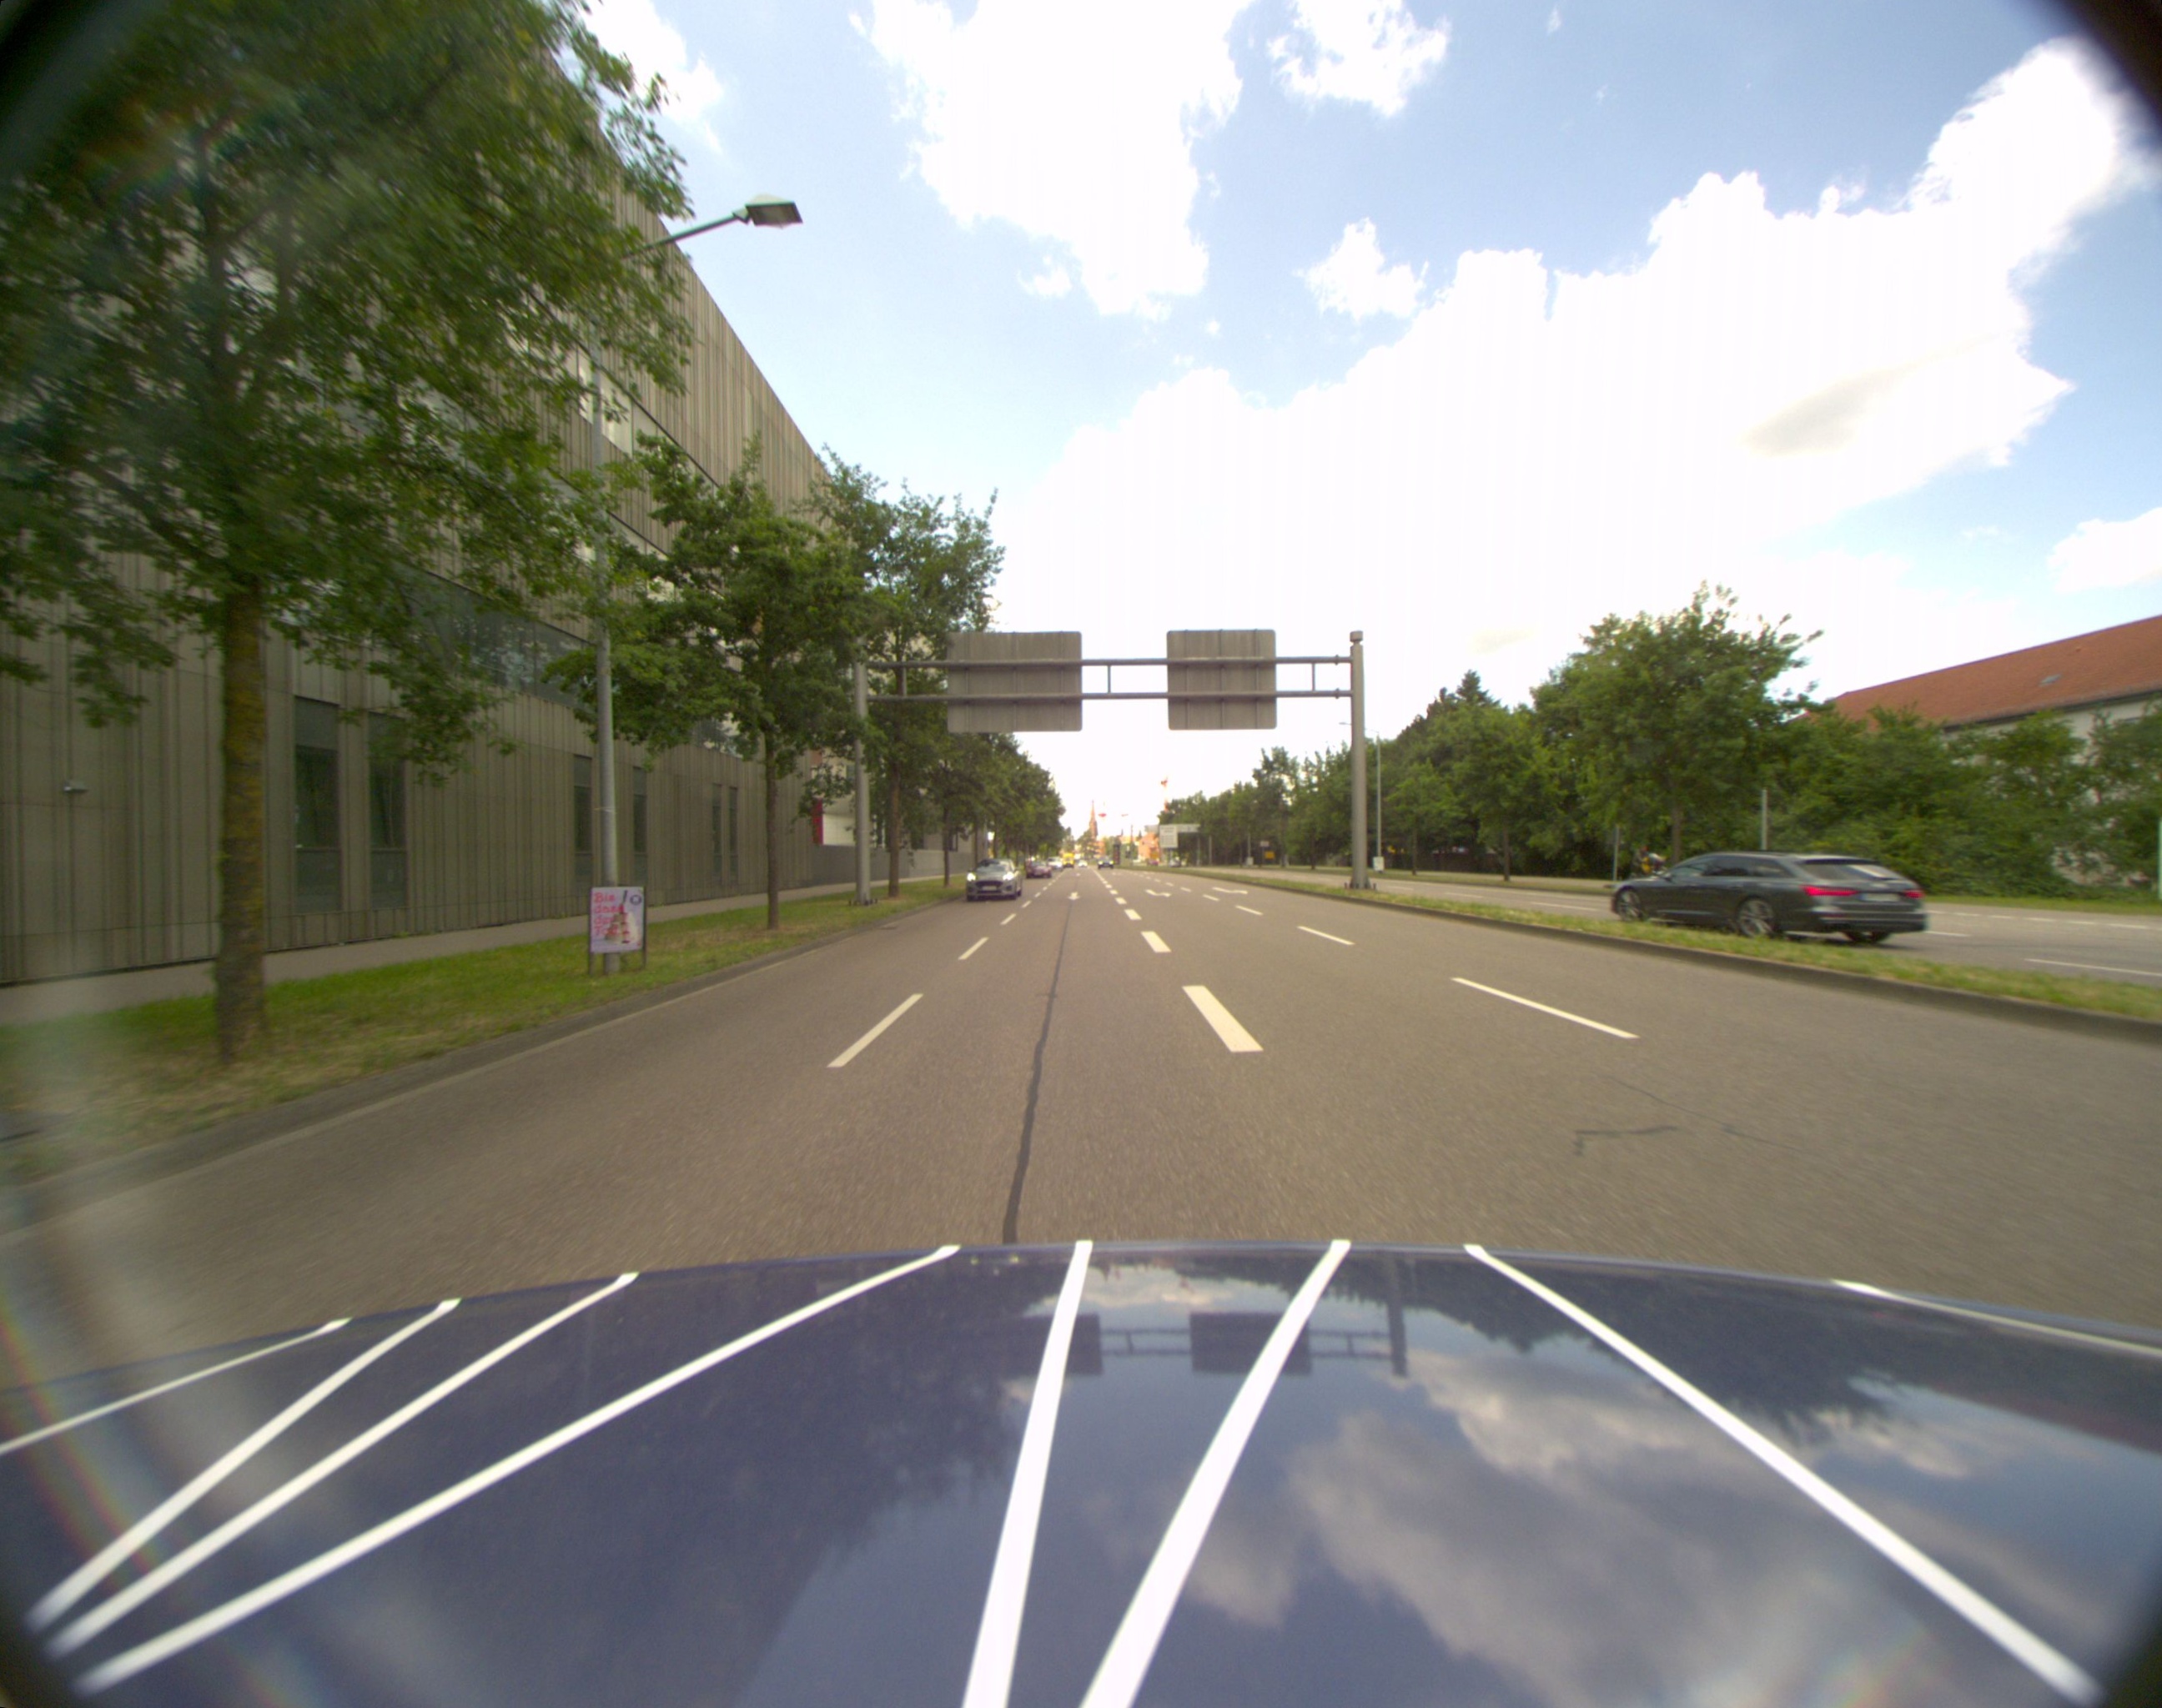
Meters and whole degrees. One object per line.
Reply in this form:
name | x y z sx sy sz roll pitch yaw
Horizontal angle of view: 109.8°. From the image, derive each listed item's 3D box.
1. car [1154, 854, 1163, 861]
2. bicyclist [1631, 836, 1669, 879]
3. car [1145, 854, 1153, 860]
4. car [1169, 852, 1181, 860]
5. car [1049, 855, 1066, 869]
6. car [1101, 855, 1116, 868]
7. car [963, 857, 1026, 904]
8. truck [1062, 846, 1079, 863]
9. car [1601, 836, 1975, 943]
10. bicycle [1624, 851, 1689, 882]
car | 18.254 0.755 178.122 1.713 1.487 4.072 -1 0 1
bicyclist | 22.446 0.131 29.973 0.740 1.648 0.980 -1 1 -4
car | 17.837 0.730 198.850 1.713 1.487 4.072 -1 0 1
car | 17.062 0.342 137.699 1.713 1.487 3.697 -1 0 1
car | -2.510 0.818 83.032 1.713 1.487 3.650 -1 0 0
car | 3.297 0.922 92.083 1.782 1.487 3.598 -1 0 0
car | -3.167 0.931 28.624 1.823 1.565 3.954 -3 0 0
truck | -1.908 0.012 144.013 3.066 3.095 7.934 -1 0 0
car | 11.715 0.495 13.240 1.964 1.508 4.909 -1 0 0
bicycle | 22.464 0.478 29.712 0.752 1.155 2.257 -1 0 -4
